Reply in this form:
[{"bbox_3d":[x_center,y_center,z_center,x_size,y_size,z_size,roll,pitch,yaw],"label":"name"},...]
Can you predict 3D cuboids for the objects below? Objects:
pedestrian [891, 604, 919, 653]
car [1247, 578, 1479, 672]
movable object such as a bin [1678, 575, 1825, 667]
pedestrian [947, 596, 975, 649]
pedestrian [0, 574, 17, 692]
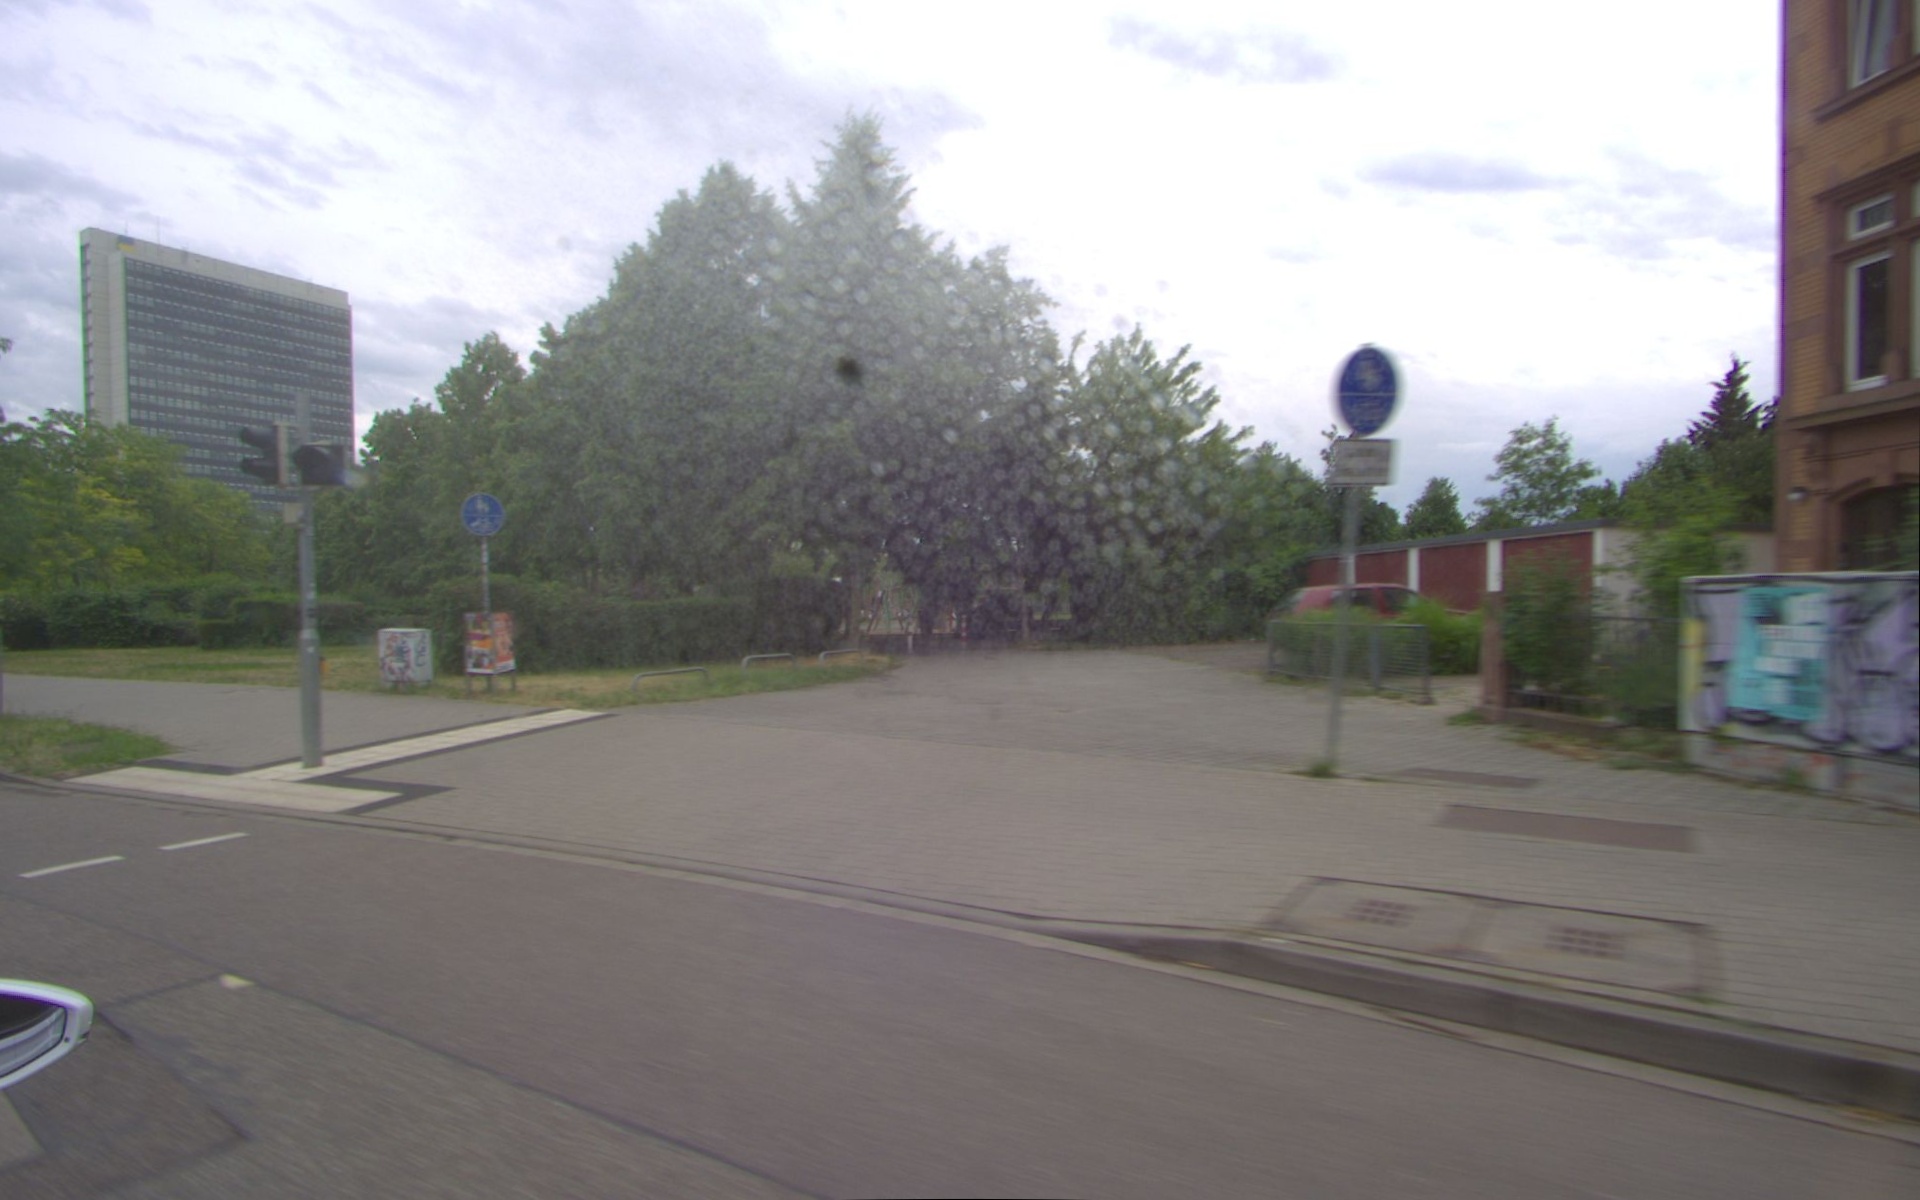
[{"bbox_3d":[-1.385,0.709,25.274,0.582,1.199,0.625,-1,1,-16],"label":"pedestrian"},{"bbox_3d":[7.083,0.421,17.845,3.418,1.471,1.691,-2,1,-1],"label":"car"},{"bbox_3d":[12.619,0.324,16.019,1.434,1.408,1.159,-1,0,-1],"label":"movable object such as a bin"},{"bbox_3d":[0.020,0.591,26.446,0.582,1.376,0.625,-1,1,-16],"label":"pedestrian"},{"bbox_3d":[-15.816,0.537,16.080,0.671,1.895,0.739,0,1,25],"label":"pedestrian"}]
